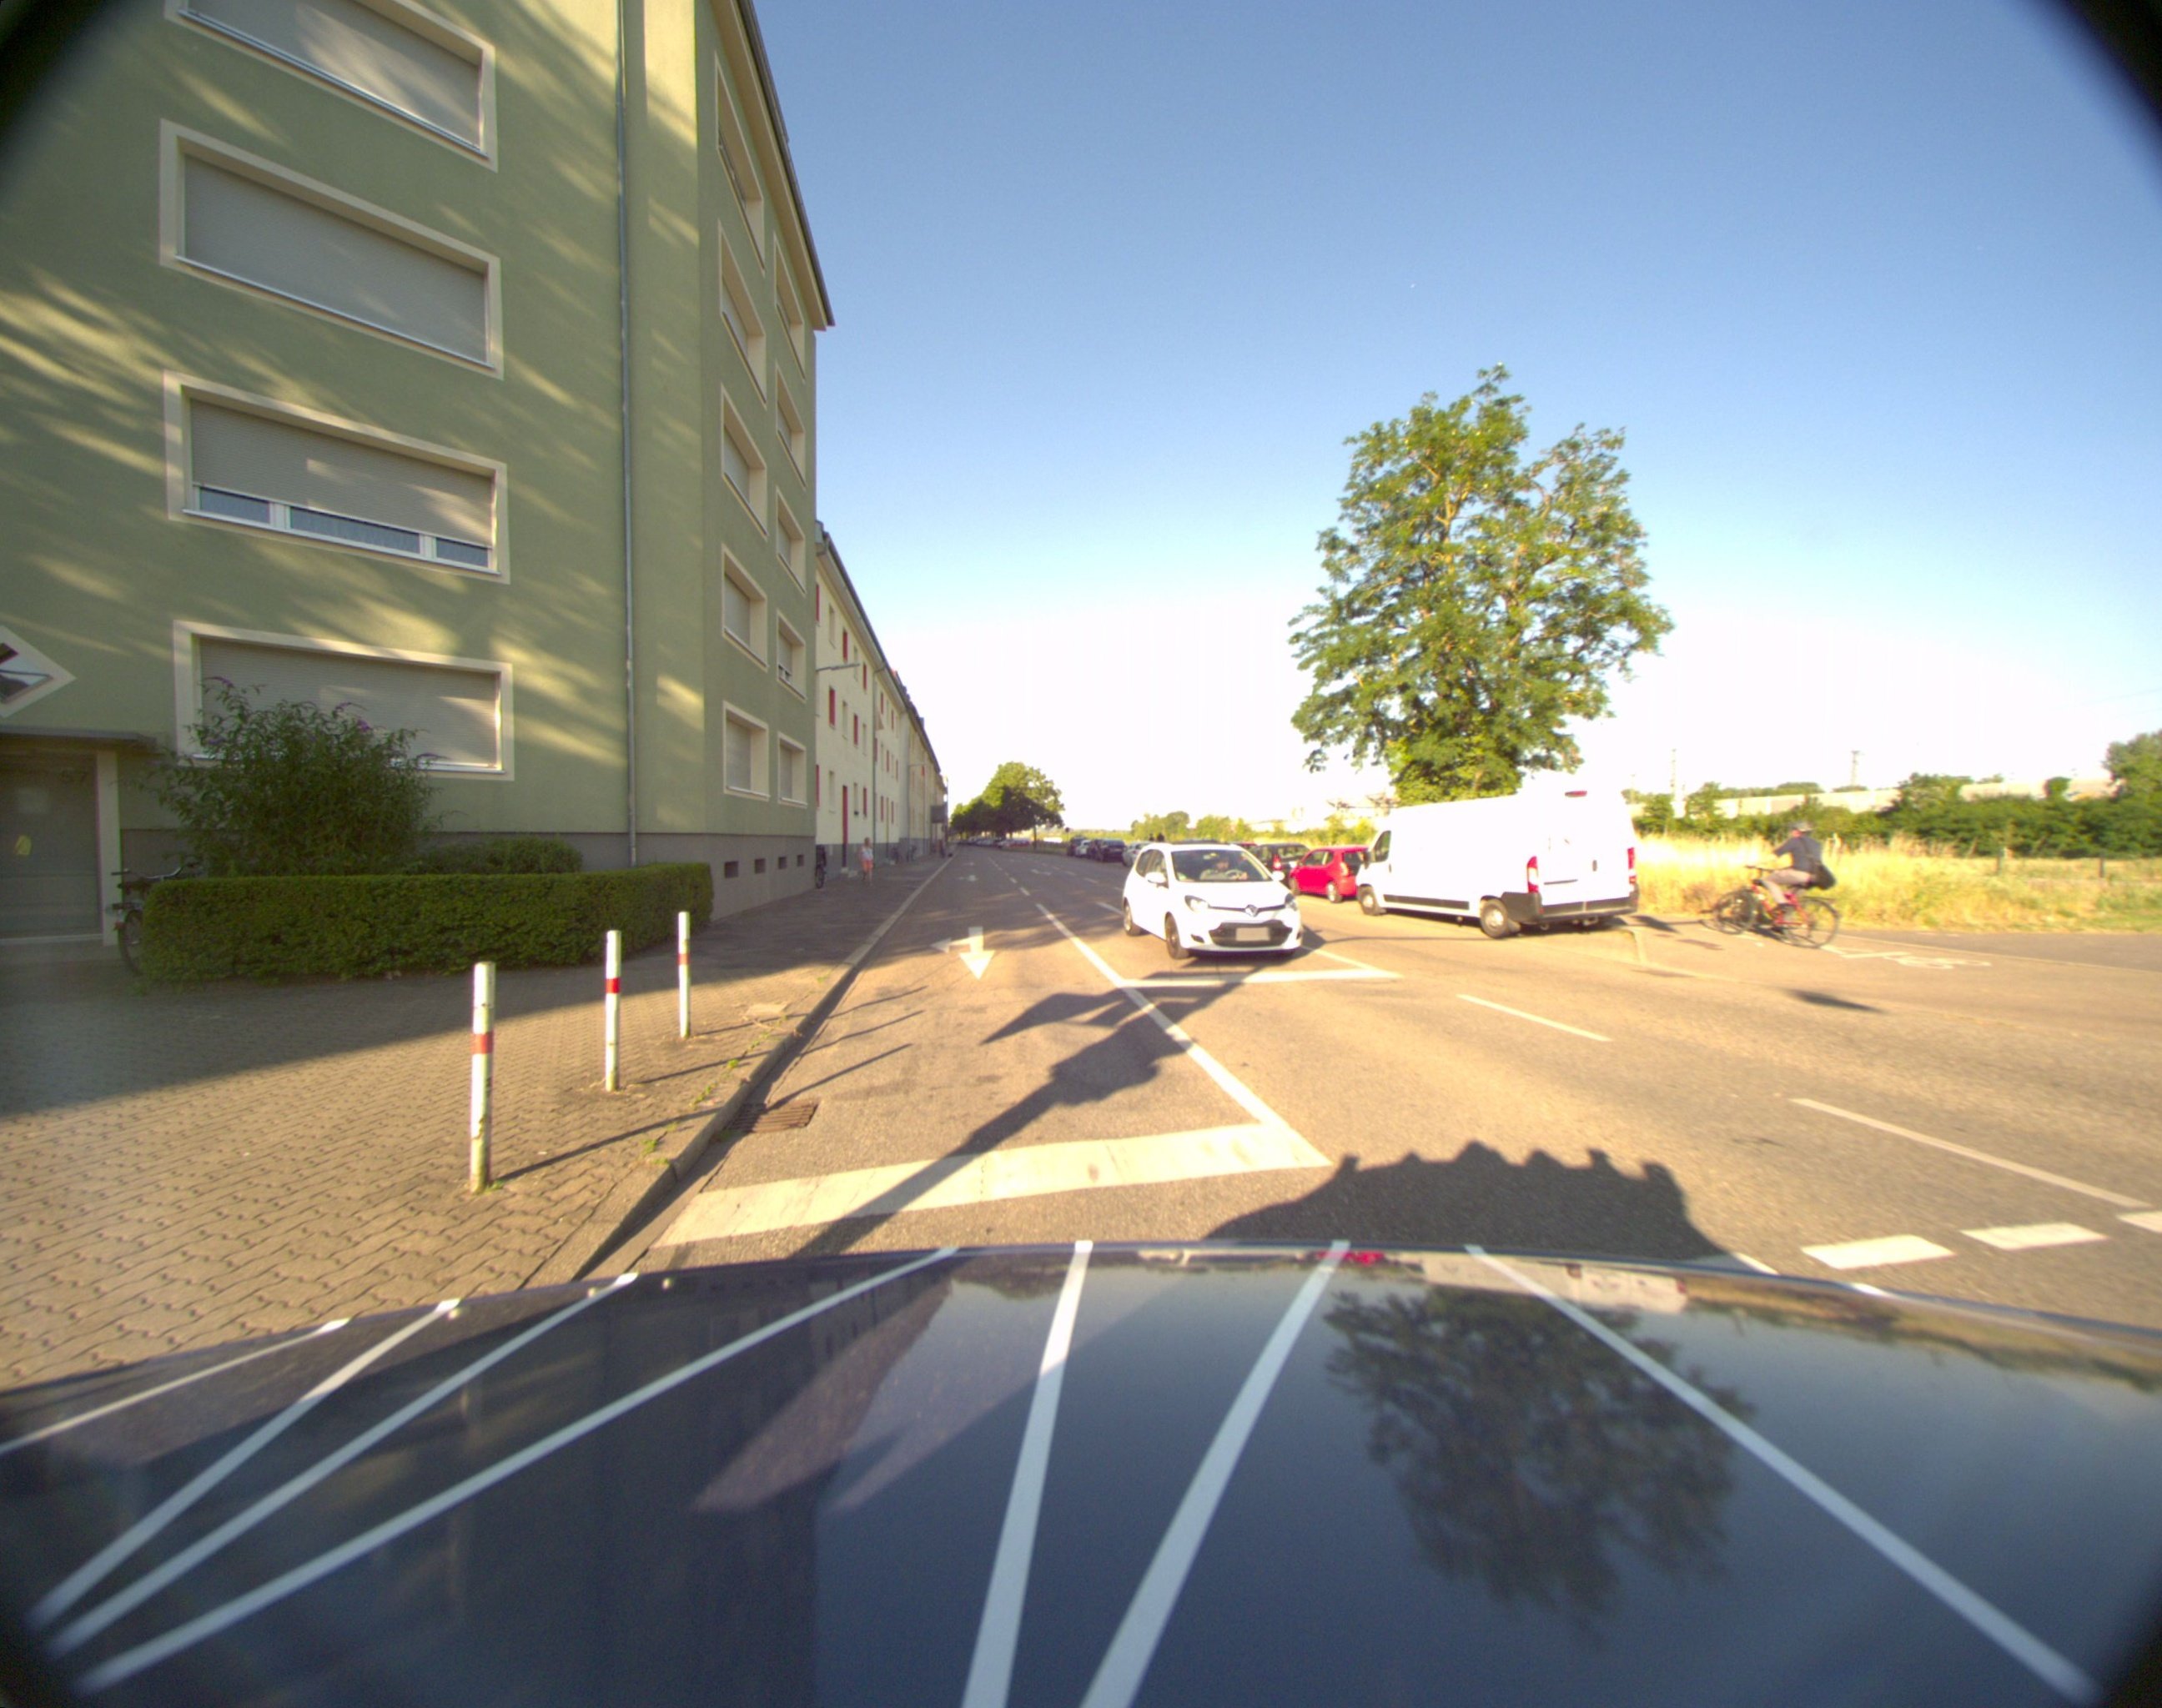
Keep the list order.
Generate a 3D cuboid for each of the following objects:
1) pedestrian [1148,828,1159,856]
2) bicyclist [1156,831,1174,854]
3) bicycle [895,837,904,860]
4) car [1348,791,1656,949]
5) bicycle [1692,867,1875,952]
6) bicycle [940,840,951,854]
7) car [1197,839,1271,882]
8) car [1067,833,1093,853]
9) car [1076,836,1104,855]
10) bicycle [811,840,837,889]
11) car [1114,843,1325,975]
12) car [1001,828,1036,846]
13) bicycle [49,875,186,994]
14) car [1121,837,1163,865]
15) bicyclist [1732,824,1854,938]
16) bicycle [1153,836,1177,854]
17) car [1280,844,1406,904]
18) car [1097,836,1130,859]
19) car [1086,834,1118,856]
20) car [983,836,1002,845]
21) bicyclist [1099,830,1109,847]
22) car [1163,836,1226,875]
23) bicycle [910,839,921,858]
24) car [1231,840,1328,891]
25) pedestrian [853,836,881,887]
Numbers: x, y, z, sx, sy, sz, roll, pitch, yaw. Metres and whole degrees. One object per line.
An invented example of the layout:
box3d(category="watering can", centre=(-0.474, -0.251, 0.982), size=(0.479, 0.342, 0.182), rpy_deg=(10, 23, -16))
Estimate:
box3d(category="pedestrian", centre=(5.209, -0.852, 54.465), size=(0.616, 2.002, 0.729), rpy_deg=(-1, 2, -11))
box3d(category="bicyclist", centre=(5.684, -0.781, 51.423), size=(0.867, 1.588, 1.144), rpy_deg=(-1, 2, -10))
box3d(category="bicycle", centre=(-11.649, -0.358, 48.722), size=(0.518, 1.404, 1.871), rpy_deg=(-1, 2, -12))
box3d(category="car", centre=(7.766, 0.163, 14.918), size=(2.236, 2.423, 5.554), rpy_deg=(-3, 2, -10))
box3d(category="bicycle", centre=(10.556, 0.783, 11.532), size=(0.754, 1.087, 1.946), rpy_deg=(0, 2, -11))
box3d(category="bicycle", centre=(-11.518, -0.609, 64.403), size=(0.651, 1.091, 2.199), rpy_deg=(-1, 2, -17))
box3d(category="car", centre=(5.913, 0.201, 29.711), size=(1.665, 1.521, 3.575), rpy_deg=(0, 2, -9))
box3d(category="car", centre=(-0.101, -1.074, 70.470), size=(1.892, 1.766, 4.215), rpy_deg=(0, 2, -7))
box3d(category="car", centre=(0.718, -0.784, 64.651), size=(1.825, 1.565, 4.215), rpy_deg=(0, 2, -7))
box3d(category="bicycle", centre=(-7.774, 0.296, 23.041), size=(0.518, 1.404, 1.871), rpy_deg=(-1, 2, -12))
box3d(category="car", centre=(1.707, 0.598, 10.675), size=(1.706, 1.460, 3.771), rpy_deg=(0, 2, -10))
box3d(category="car", centre=(-9.950, -2.726, 120.725), size=(5.325, 2.399, 2.263), rpy_deg=(-4, 3, -9))
box3d(category="bicycle", centre=(-9.836, 0.760, 7.817), size=(1.842, 0.997, 0.647), rpy_deg=(2, 3, 44))
box3d(category="car", centre=(3.553, -0.210, 44.849), size=(1.707, 1.517, 3.579), rpy_deg=(0, 2, -8))
box3d(category="bicyclist", centre=(10.621, 0.372, 11.368), size=(0.878, 1.616, 0.971), rpy_deg=(-1, 2, -10))
box3d(category="bicycle", centre=(5.666, -0.653, 51.437), size=(0.940, 1.182, 2.479), rpy_deg=(-1, 2, -11))
box3d(category="car", centre=(7.141, 0.473, 21.122), size=(1.747, 1.478, 3.690), rpy_deg=(0, 2, -9))
box3d(category="car", centre=(2.251, -0.478, 53.676), size=(1.824, 1.517, 4.286), rpy_deg=(0, 2, -5))
box3d(category="car", centre=(1.590, -0.716, 59.335), size=(1.825, 1.628, 4.215), rpy_deg=(0, 2, -7))
box3d(category="car", centre=(-19.032, -2.902, 162.842), size=(4.001, 1.708, 1.998), rpy_deg=(0, 2, -10))
box3d(category="bicyclist", centre=(2.241, -1.489, 73.810), size=(0.769, 1.588, 1.145), rpy_deg=(0, 2, -7))
box3d(category="car", centre=(5.036, 0.012, 34.241), size=(1.665, 1.650, 4.001), rpy_deg=(0, 2, -9))
box3d(category="bicycle", centre=(-11.692, -0.419, 53.709), size=(0.518, 1.318, 2.208), rpy_deg=(0, 2, -7))
box3d(category="car", centre=(6.526, 0.321, 25.443), size=(1.747, 1.521, 3.812), rpy_deg=(0, 2, -9))
box3d(category="pedestrian", centre=(-7.189, 0.232, 25.563), size=(0.788, 1.697, 0.949), rpy_deg=(0, 2, -9))
